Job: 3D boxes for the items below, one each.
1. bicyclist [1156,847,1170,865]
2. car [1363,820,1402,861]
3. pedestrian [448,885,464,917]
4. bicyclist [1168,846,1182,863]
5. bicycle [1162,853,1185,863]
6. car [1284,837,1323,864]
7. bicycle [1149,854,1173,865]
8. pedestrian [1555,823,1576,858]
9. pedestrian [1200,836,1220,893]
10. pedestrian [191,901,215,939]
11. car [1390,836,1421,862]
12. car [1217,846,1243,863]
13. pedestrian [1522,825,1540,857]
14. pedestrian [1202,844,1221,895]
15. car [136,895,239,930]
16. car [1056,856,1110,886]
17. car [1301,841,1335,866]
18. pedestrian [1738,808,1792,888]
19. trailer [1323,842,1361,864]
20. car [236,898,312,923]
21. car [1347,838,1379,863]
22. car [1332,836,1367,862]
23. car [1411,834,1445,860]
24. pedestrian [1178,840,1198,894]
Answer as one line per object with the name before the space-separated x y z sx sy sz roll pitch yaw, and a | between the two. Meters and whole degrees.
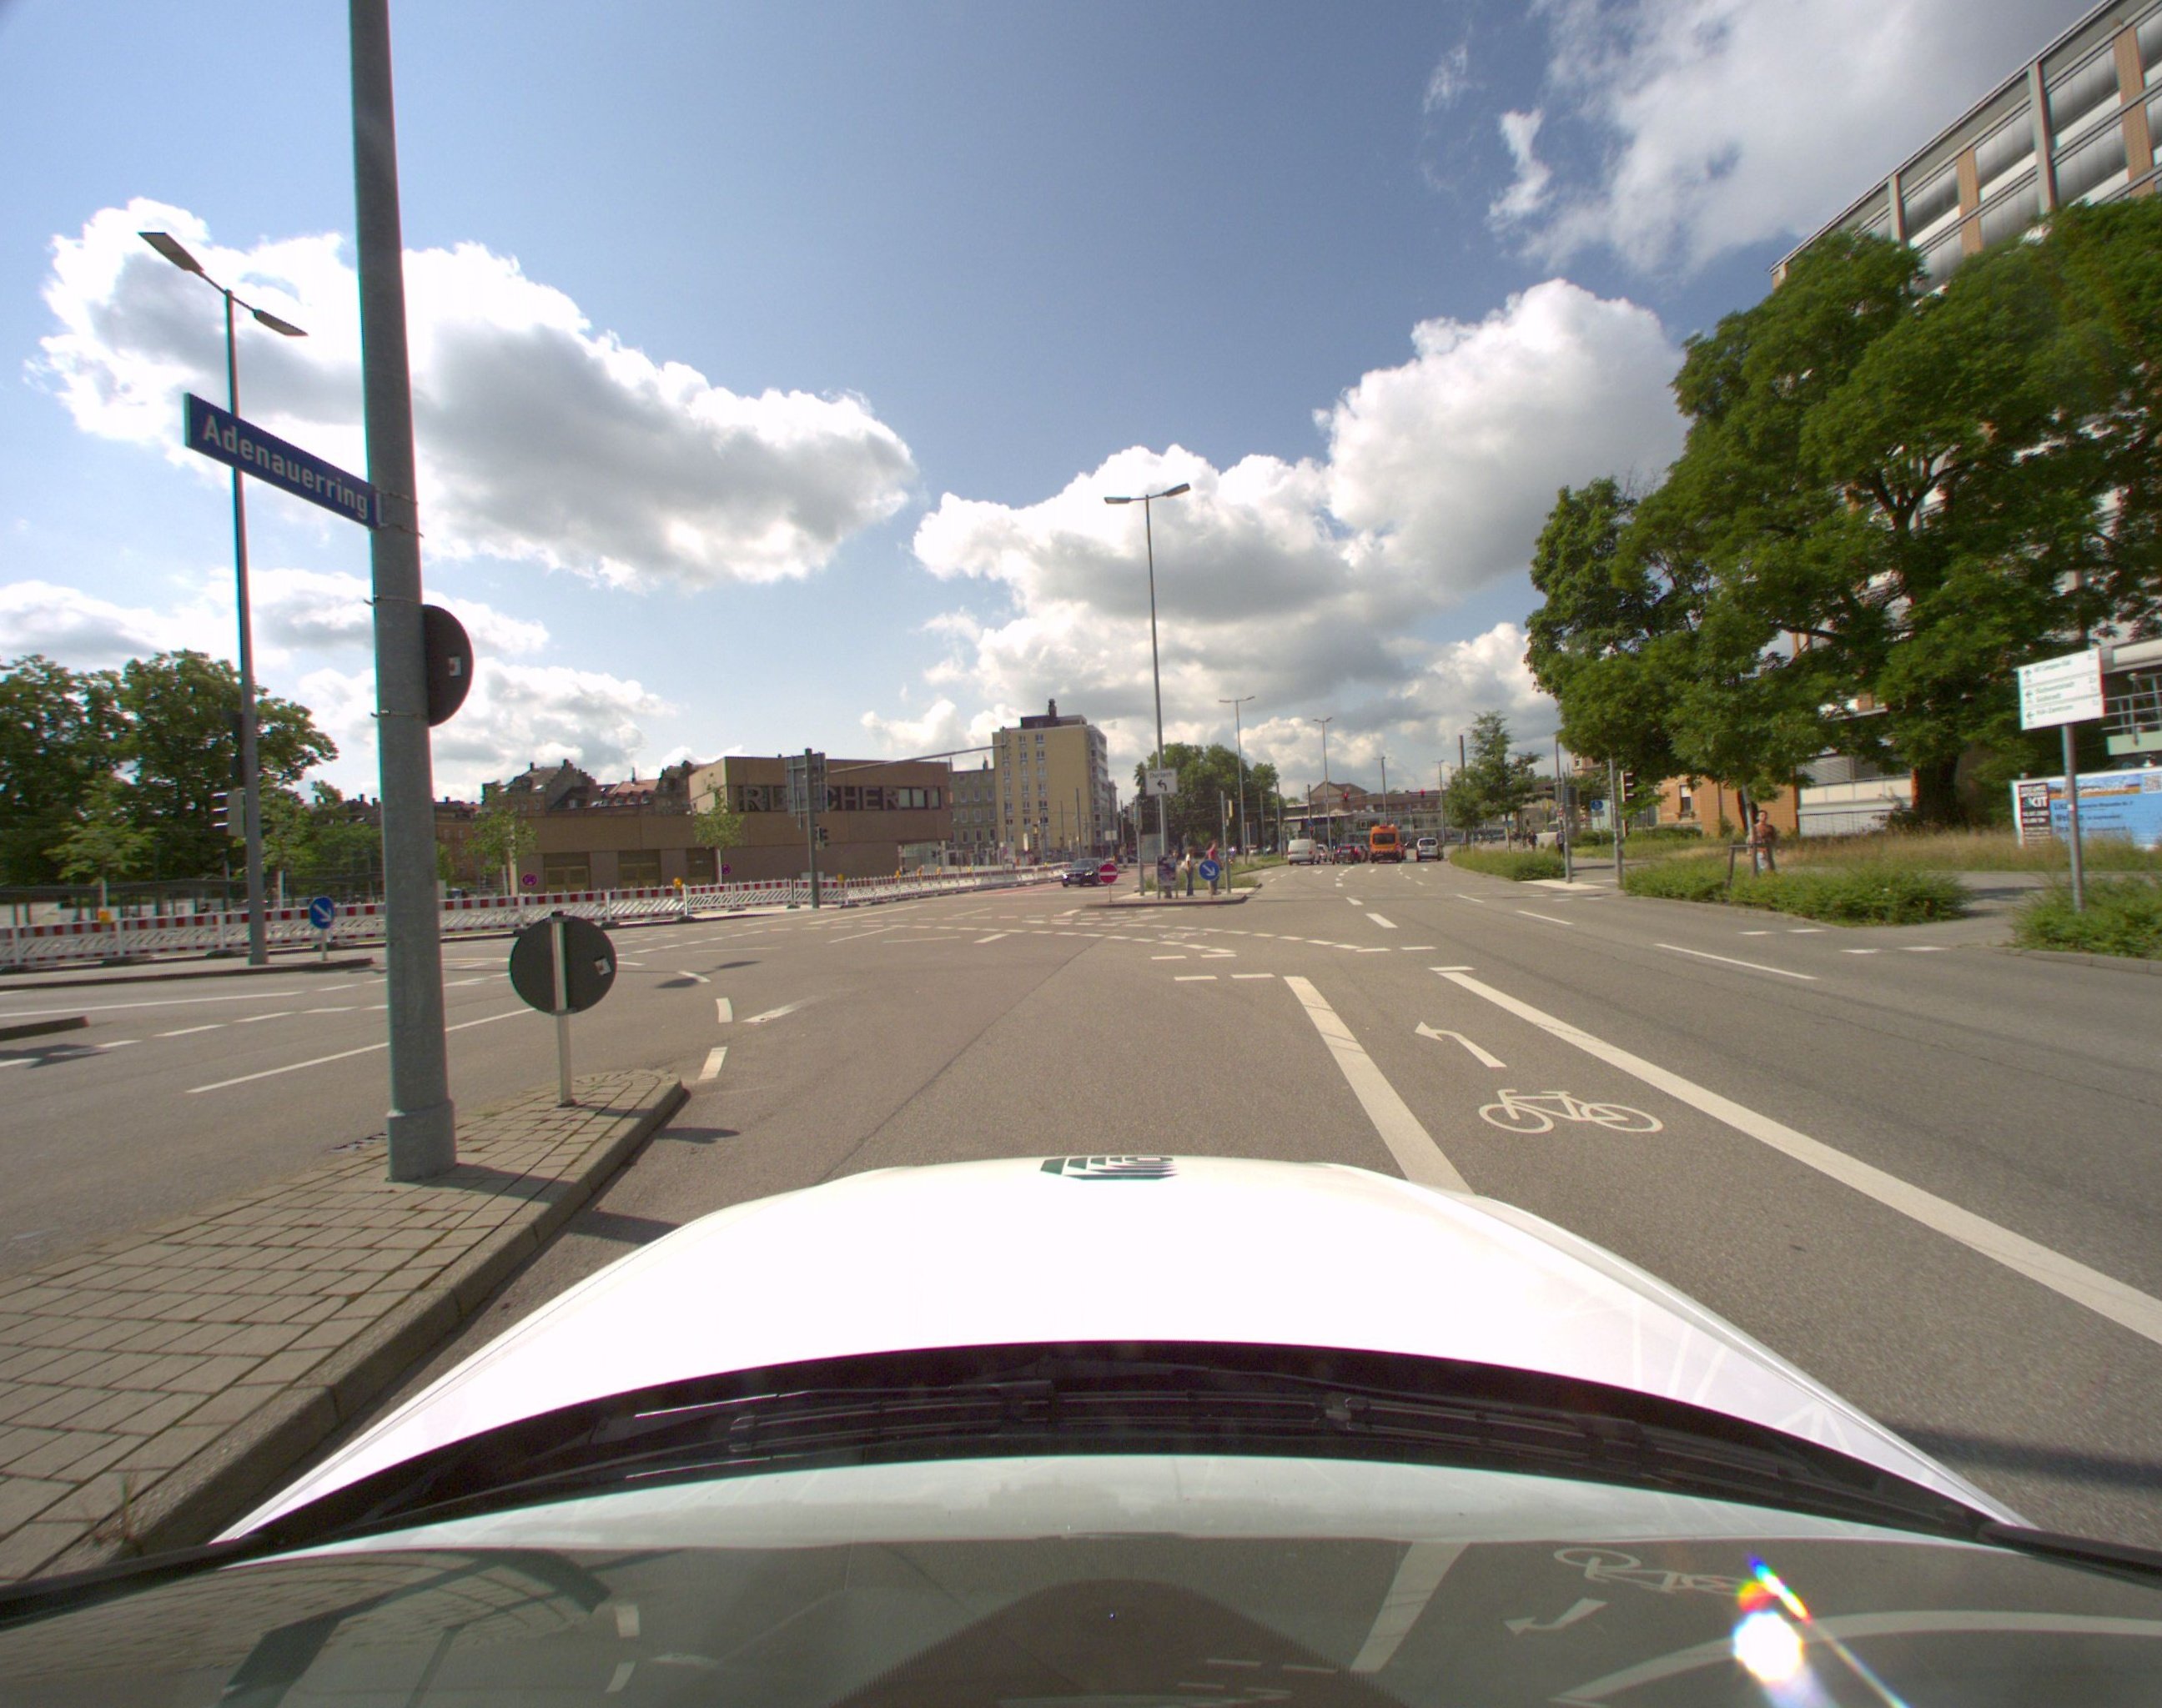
bicyclist | 8.950 0.221 88.909 1.209 1.909 0.863 -3 0 22
car | 22.776 -1.026 61.381 2.110 2.780 4.666 -4 0 26
pedestrian | -39.821 2.977 51.859 0.706 2.013 0.549 -3 -1 -36
bicyclist | 10.753 0.053 93.154 1.209 1.909 0.839 -3 0 22
bicycle | 10.584 0.486 93.226 2.358 1.066 0.847 -3 0 22
car | 17.406 -0.301 63.607 1.987 1.966 4.666 -4 0 26
bicycle | 8.773 0.653 88.984 2.358 1.066 0.863 -3 0 22
pedestrian | 25.518 -0.717 42.935 0.781 1.784 0.670 -3 0 23
pedestrian | 4.023 0.328 25.371 0.521 1.733 0.626 -3 0 11
pedestrian | -48.991 3.685 45.436 0.767 2.013 0.741 -3 -1 -39
car | 27.568 -0.450 69.100 1.973 1.938 4.666 -4 0 26
car | 13.429 0.046 73.195 1.648 1.480 4.081 0 1 19
pedestrian | 26.162 -0.744 47.351 0.781 1.784 0.671 -3 0 25
pedestrian | 4.427 0.507 27.523 0.521 1.684 0.626 -3 0 11
car | -57.940 3.752 52.922 4.200 1.882 1.782 -3 0 -37
car | 0.165 0.843 42.365 1.779 1.388 4.244 -3 0 15
car | 20.683 -0.097 70.812 1.973 1.938 4.666 -4 0 26
pedestrian | 15.273 -0.141 18.204 0.656 1.733 0.579 -3 0 9
trailer | 19.477 -0.084 60.689 1.975 1.477 4.024 -4 0 27
car | -71.498 4.981 72.236 4.383 1.793 1.767 -3 0 -28
car | 24.294 -0.334 70.094 1.973 1.938 4.666 -4 0 26
car | 21.129 -0.403 63.988 1.975 1.826 4.024 -4 0 27
car | 26.452 -0.538 62.071 1.975 1.795 4.024 -4 0 27
pedestrian | 3.491 0.425 26.567 0.521 1.733 0.626 -3 0 11
